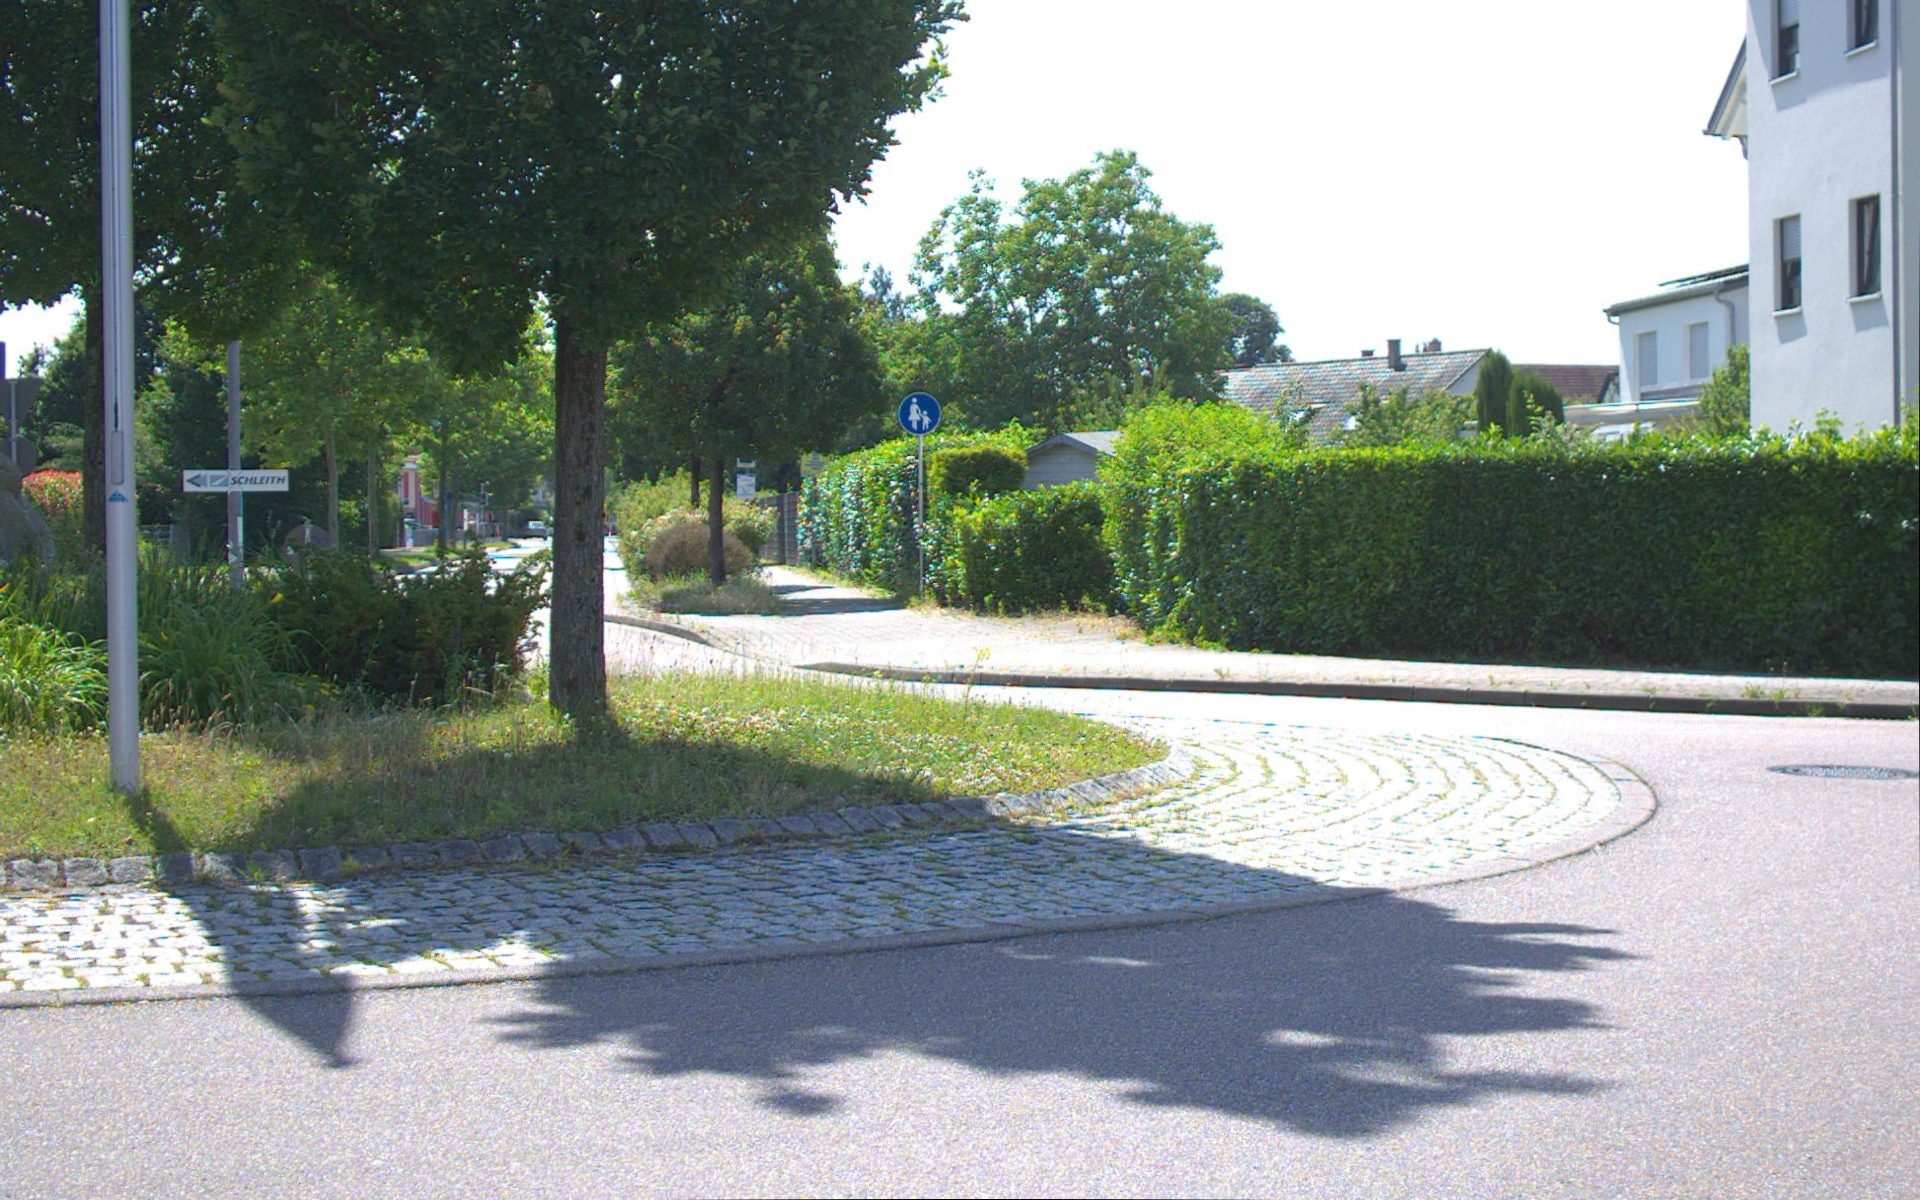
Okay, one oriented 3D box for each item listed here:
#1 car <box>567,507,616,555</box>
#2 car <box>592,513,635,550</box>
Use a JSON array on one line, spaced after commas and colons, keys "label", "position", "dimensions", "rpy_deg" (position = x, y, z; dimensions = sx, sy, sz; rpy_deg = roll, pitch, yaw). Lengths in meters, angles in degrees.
[{"label": "car", "position": [-14.966, -2.797, 139.793], "dimensions": [1.922, 1.879, 4.001], "rpy_deg": [1, 1, -6]}, {"label": "car", "position": [-16.917, -3.341, 168.162], "dimensions": [1.993, 1.764, 4.001], "rpy_deg": [1, 1, -5]}]
